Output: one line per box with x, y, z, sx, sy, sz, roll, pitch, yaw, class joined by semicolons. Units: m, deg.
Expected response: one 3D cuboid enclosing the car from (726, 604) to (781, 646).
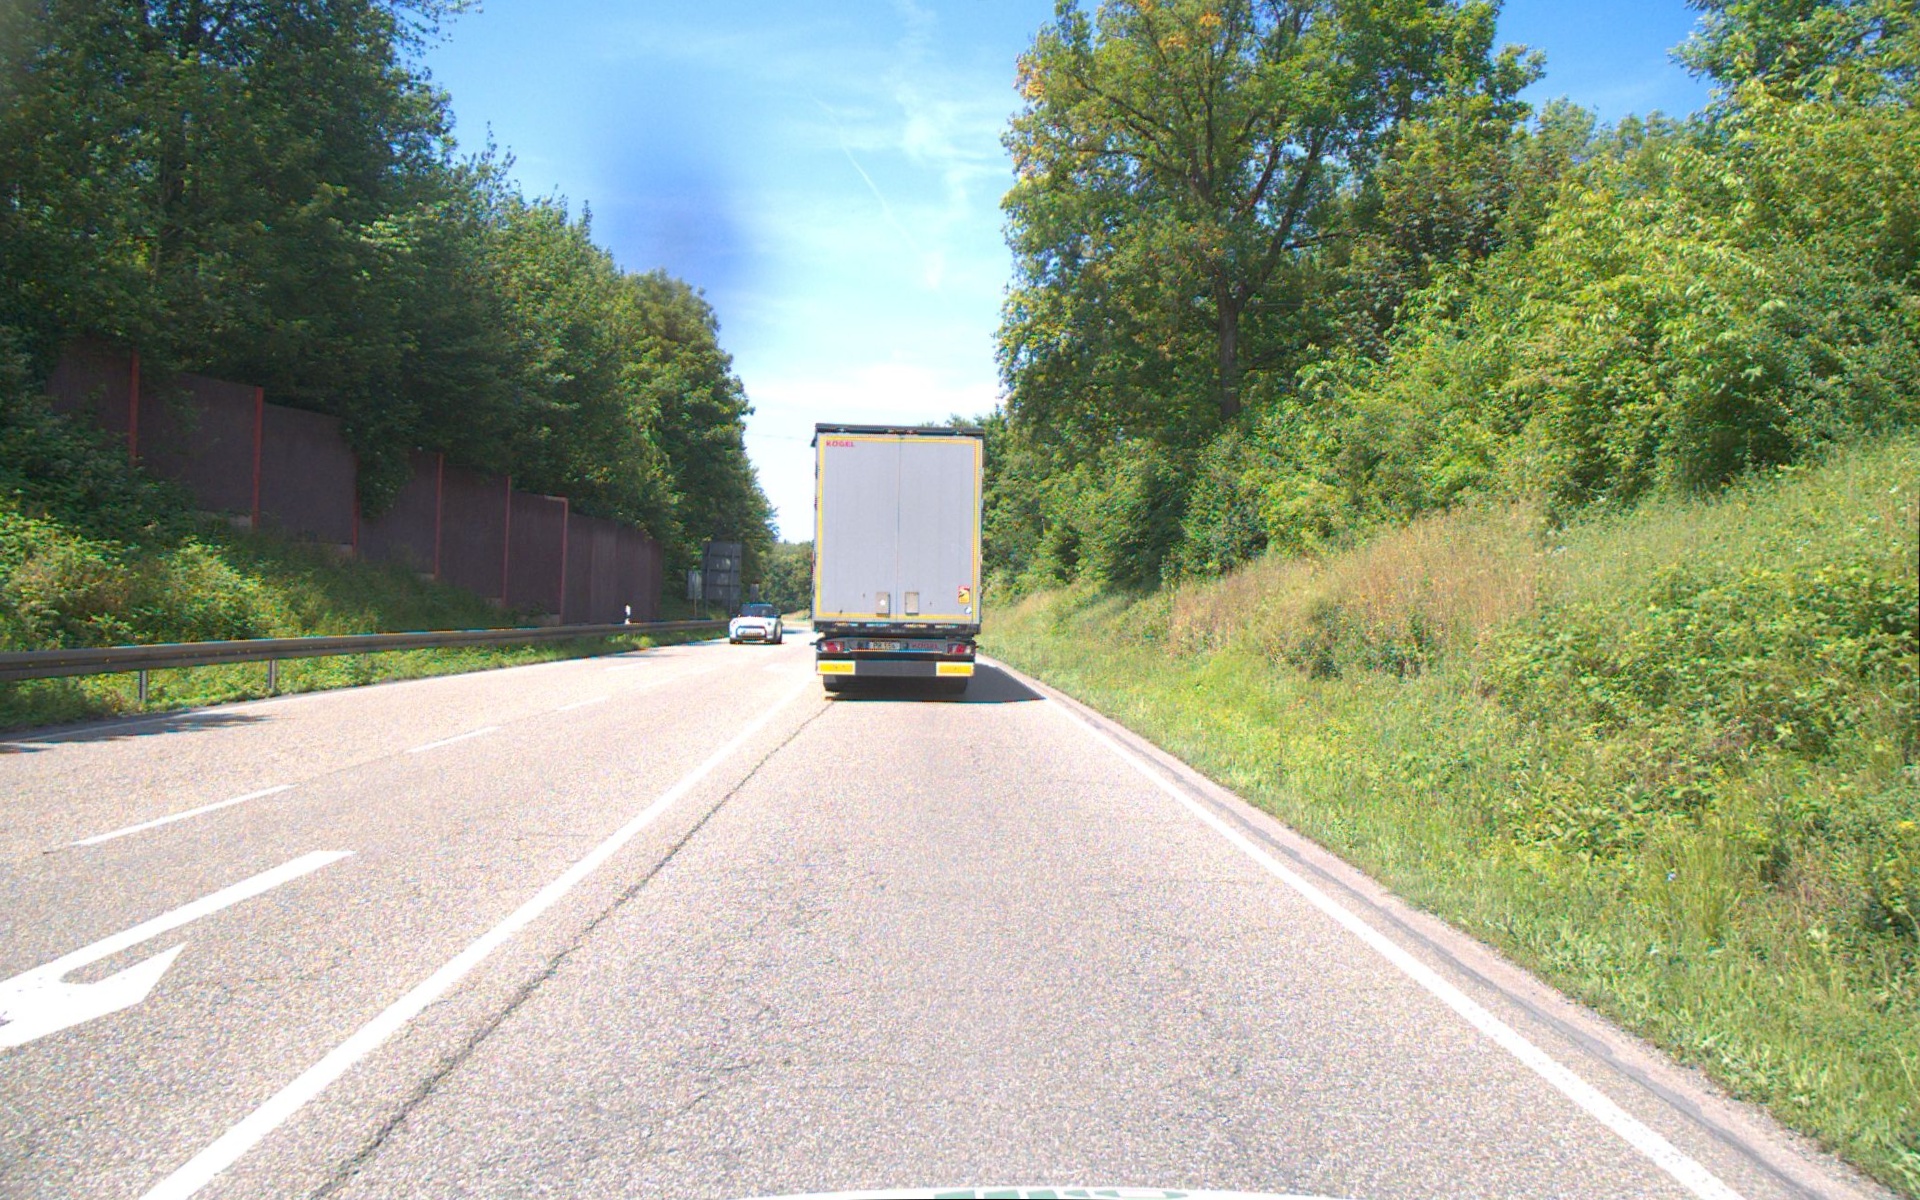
-7.548;0.890;60.774;1.770;1.460;3.868;0;0;-4;car

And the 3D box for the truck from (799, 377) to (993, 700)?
-1.069;-0.934;27.547;2.766;4.684;6.662;1;1;-2;truck
